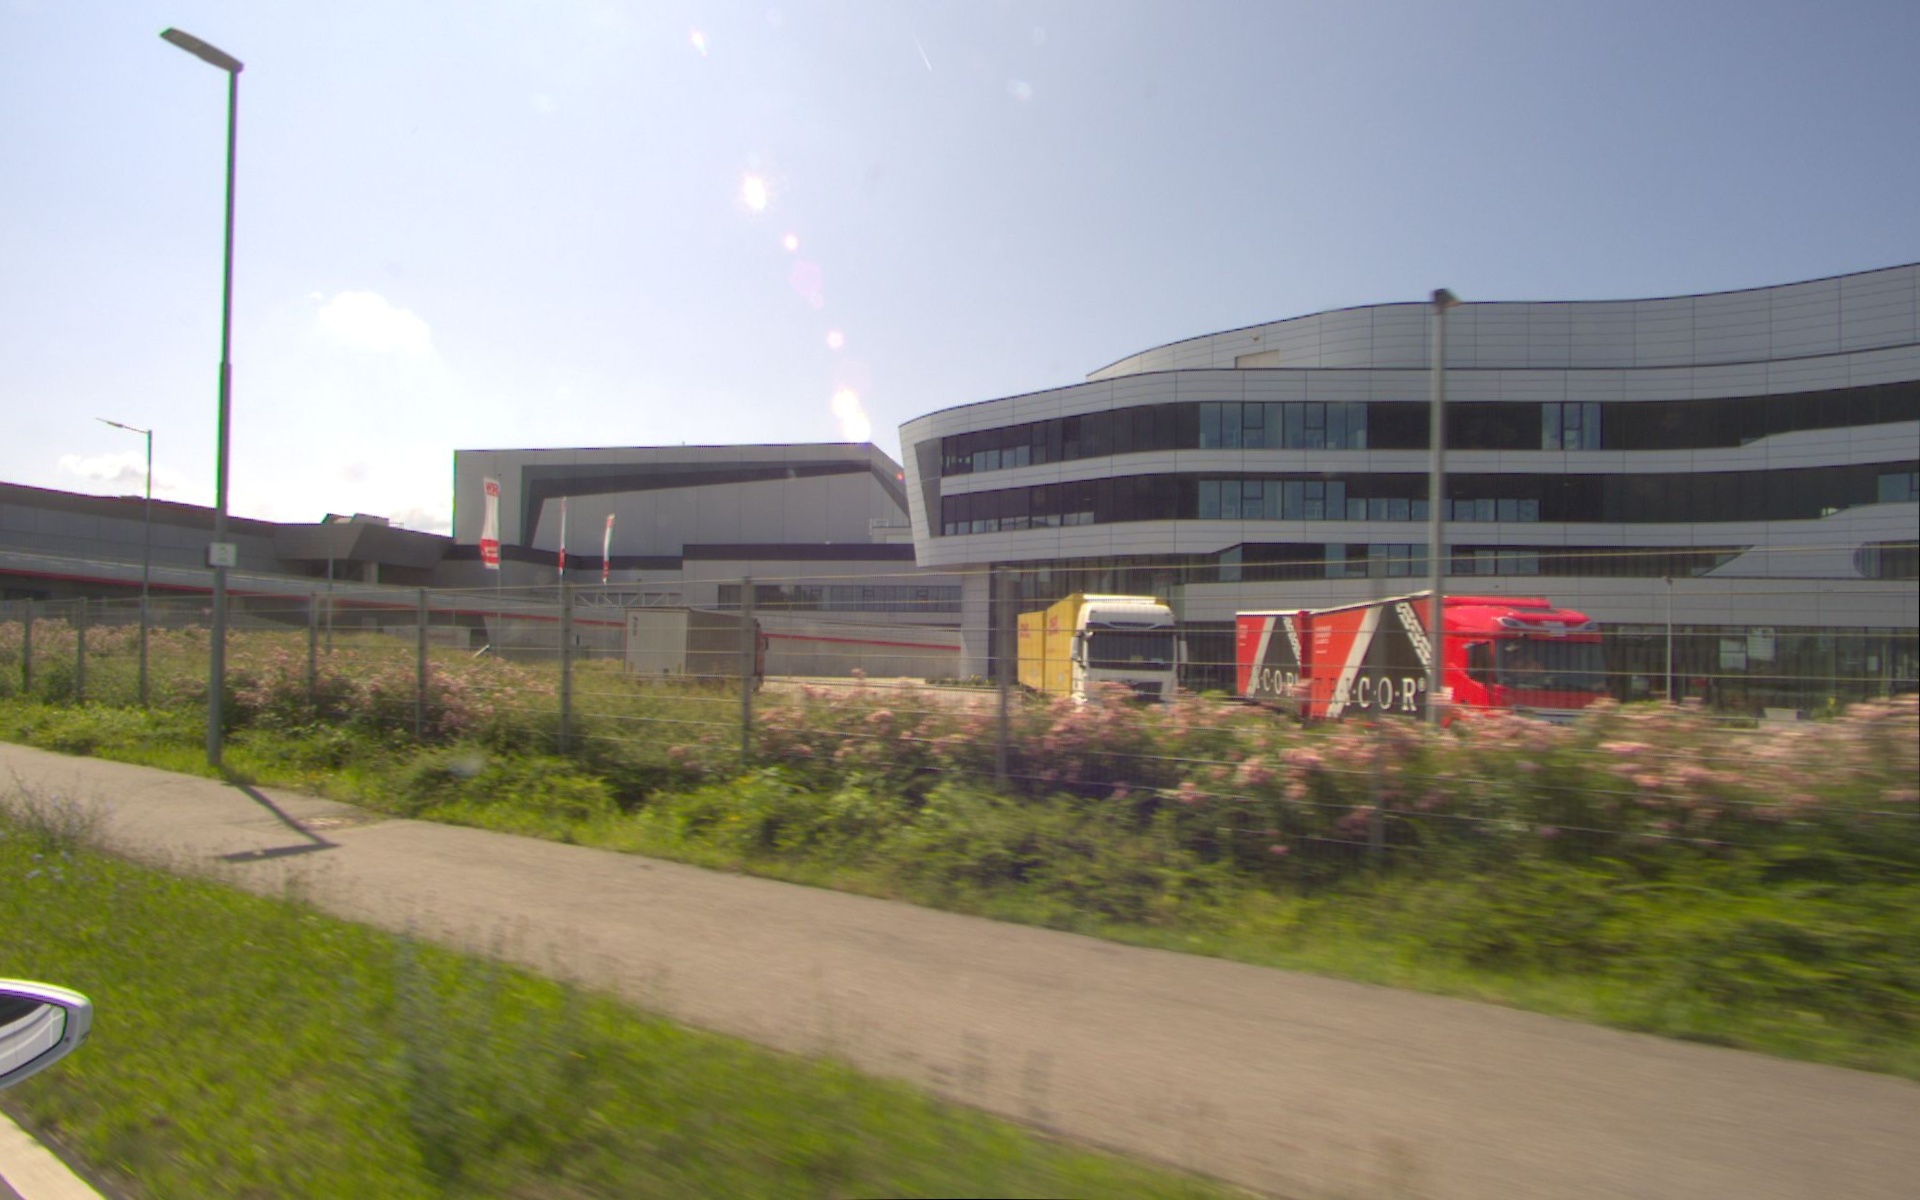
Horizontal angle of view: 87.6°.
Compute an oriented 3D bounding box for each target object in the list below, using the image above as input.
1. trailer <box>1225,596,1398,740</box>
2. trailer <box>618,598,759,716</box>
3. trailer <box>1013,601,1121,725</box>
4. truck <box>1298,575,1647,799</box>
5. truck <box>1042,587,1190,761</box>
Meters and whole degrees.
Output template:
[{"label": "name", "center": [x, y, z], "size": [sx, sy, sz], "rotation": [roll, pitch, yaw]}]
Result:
[{"label": "trailer", "center": [11.784, 2.188, 34.673], "size": [2.970, 4.350, 8.719], "rotation": [0, -2, 0]}, {"label": "trailer", "center": [-11.830, 2.410, 45.479], "size": [2.712, 4.494, 14.069], "rotation": [0, -2, -1]}, {"label": "trailer", "center": [4.002, 2.357, 39.597], "size": [2.845, 4.350, 8.718], "rotation": [0, -2, -3]}, {"label": "truck", "center": [11.768, 1.856, 24.862], "size": [2.970, 4.310, 10.978], "rotation": [0, -2, 0]}, {"label": "truck", "center": [4.241, 1.985, 29.851], "size": [2.767, 4.225, 10.979], "rotation": [0, -2, 0]}]
